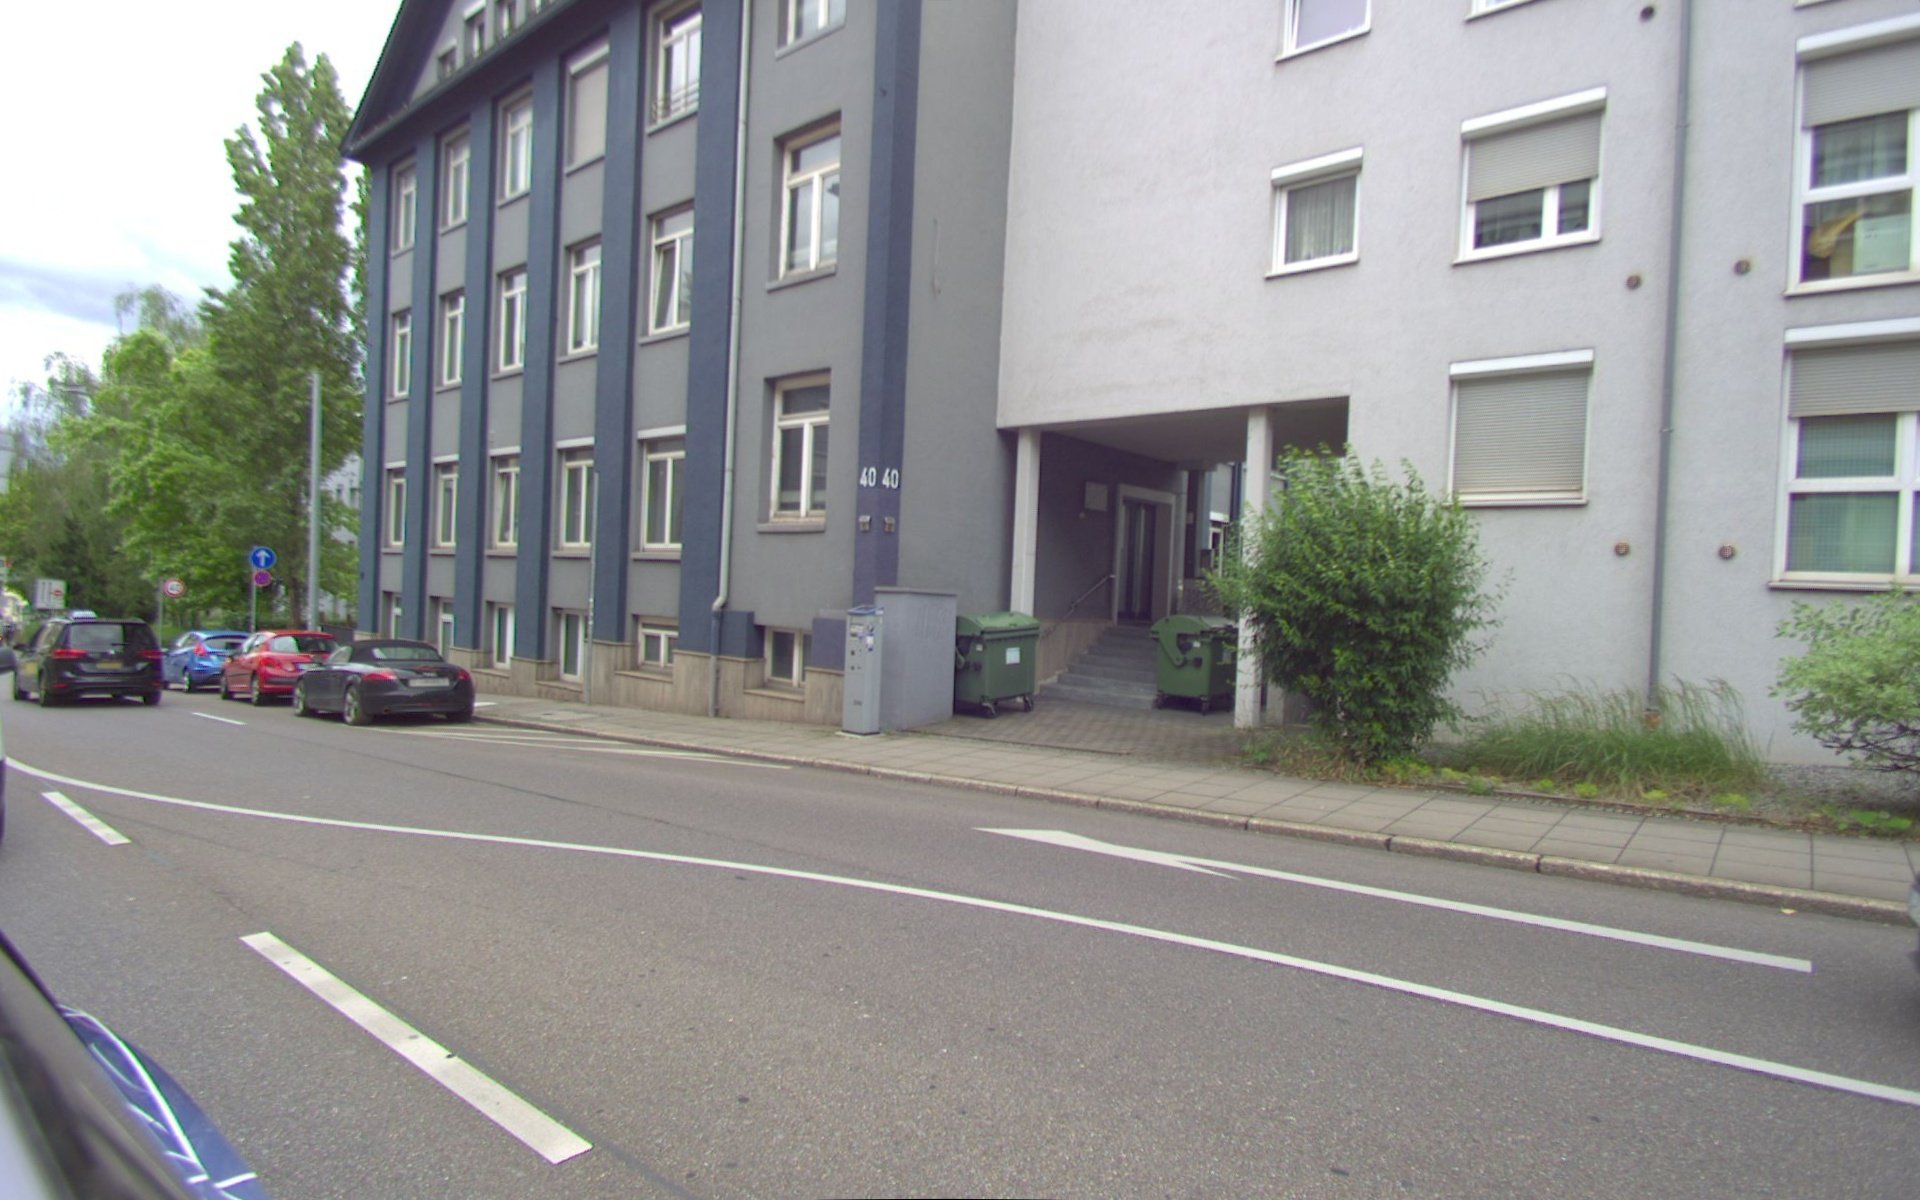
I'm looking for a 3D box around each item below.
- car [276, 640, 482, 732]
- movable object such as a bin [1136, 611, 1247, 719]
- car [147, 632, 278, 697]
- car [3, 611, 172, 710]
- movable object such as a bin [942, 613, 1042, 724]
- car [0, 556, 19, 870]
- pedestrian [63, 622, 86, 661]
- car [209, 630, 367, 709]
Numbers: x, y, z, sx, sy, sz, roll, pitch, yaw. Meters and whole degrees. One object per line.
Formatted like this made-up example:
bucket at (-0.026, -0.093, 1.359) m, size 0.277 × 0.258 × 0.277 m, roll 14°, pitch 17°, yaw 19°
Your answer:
car at (-9.833, 1.381, 17.020) m, size 4.038 × 1.337 × 1.702 m, roll -1°, pitch -5°, yaw 40°
movable object such as a bin at (3.545, 0.958, 15.500) m, size 1.190 × 1.489 × 1.132 m, roll 5°, pitch 1°, yaw 41°
car at (-18.235, 1.524, 24.647) m, size 3.724 × 1.465 × 1.702 m, roll -1°, pitch -3°, yaw 40°
car at (-17.010, 1.133, 19.664) m, size 4.304 × 1.720 × 1.765 m, roll -1°, pitch -4°, yaw 41°
movable object such as a bin at (0.468, 0.943, 14.542) m, size 0.784 × 1.467 × 1.251 m, roll 0°, pitch 1°, yaw 44°
car at (-7.965, 0.707, 6.890) m, size 4.937 × 1.821 × 1.816 m, roll -1°, pitch -1°, yaw 42°
pedestrian at (-42.150, 1.962, 48.182) m, size 0.776 × 1.864 × 0.736 m, roll -2°, pitch -2°, yaw 42°
car at (-14.008, 1.410, 21.013) m, size 3.868 × 1.485 × 1.796 m, roll -2°, pitch -5°, yaw 42°
